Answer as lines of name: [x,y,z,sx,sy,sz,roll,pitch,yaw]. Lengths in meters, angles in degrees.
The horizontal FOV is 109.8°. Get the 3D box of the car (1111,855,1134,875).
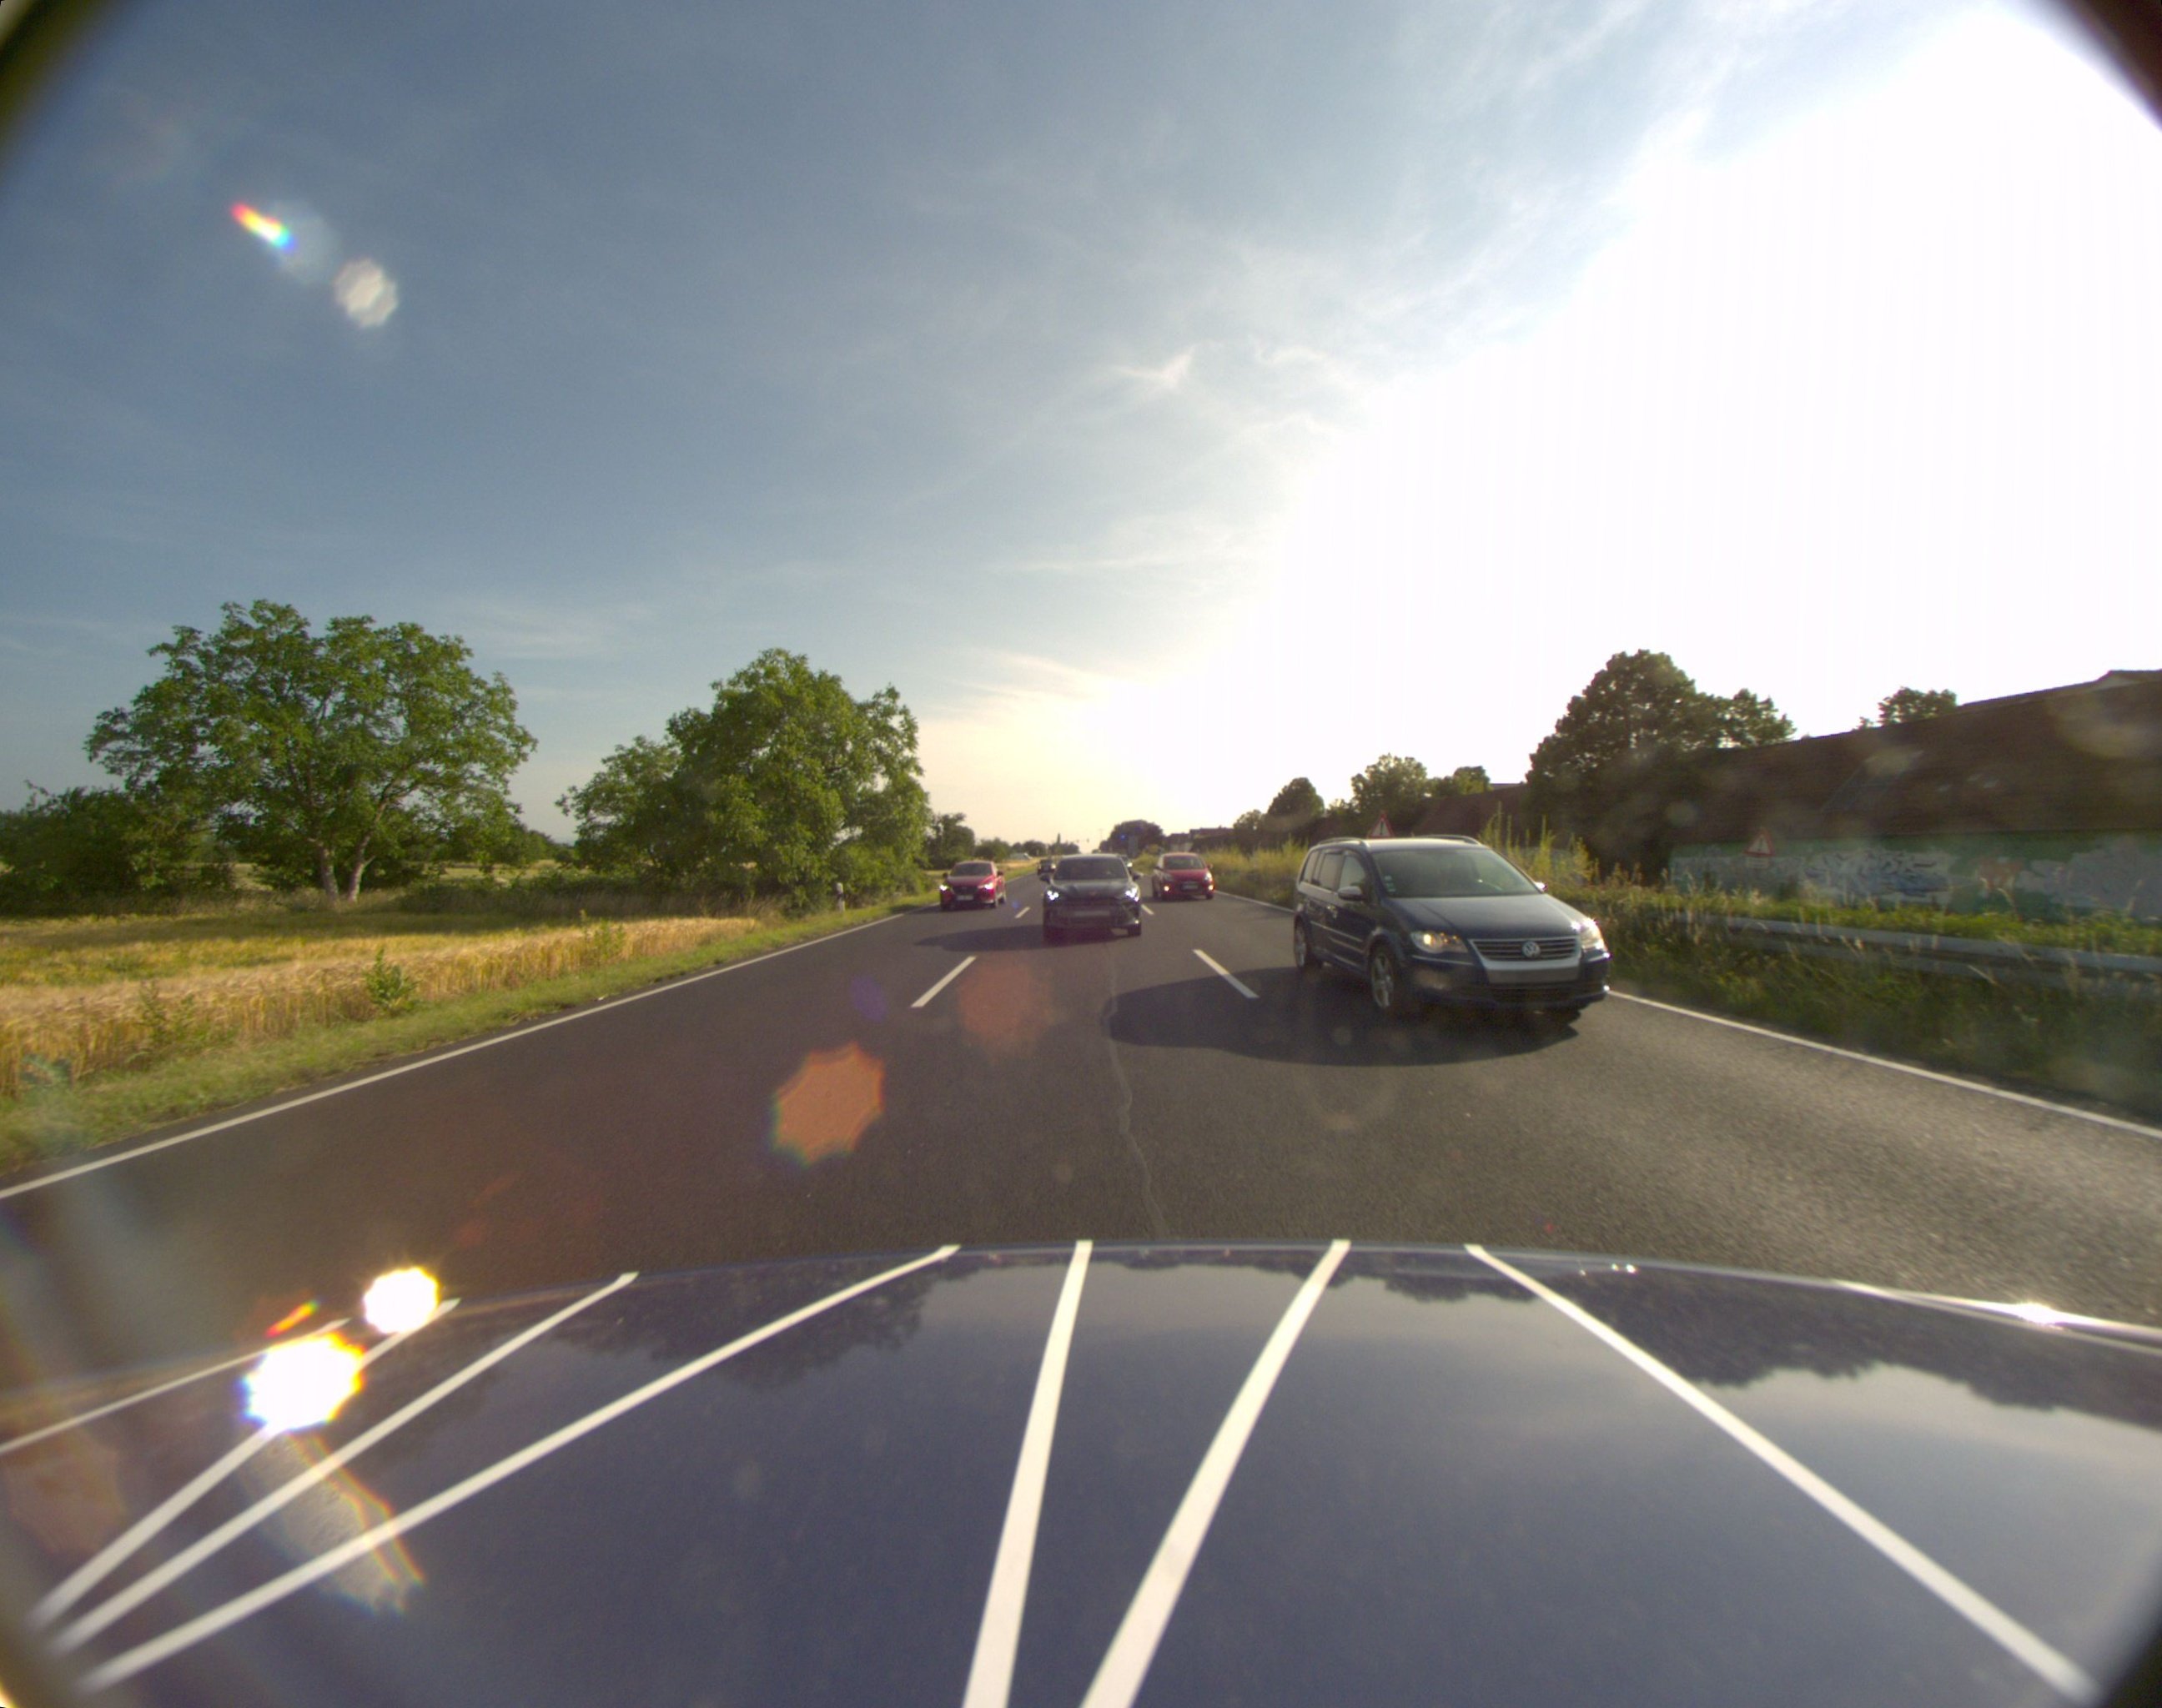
car: [3.539,0.892,65.231,1.719,1.521,3.999,-2,1,1]

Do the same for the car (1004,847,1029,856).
car: [-19.541,-0.648,229.349,7.202,2.654,2.094,0,2,14]

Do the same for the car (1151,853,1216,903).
car: [3.548,0.780,26.909,1.748,1.537,3.999,-2,1,1]

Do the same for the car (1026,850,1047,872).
car: [-4.392,0.647,75.514,1.999,2.002,3.998,-2,1,-2]

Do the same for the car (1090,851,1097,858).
car: [3.891,0.063,239.652,1.998,2.002,3.999,-2,1,1]

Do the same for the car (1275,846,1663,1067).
car: [3.523,0.749,8.063,1.777,1.612,4.681,-1,1,1]

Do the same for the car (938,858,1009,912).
car: [-3.489,0.968,25.391,1.708,1.497,4.500,-2,1,0]

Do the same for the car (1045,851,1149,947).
car: [0.312,0.798,15.676,1.791,1.594,4.339,-2,1,1]
